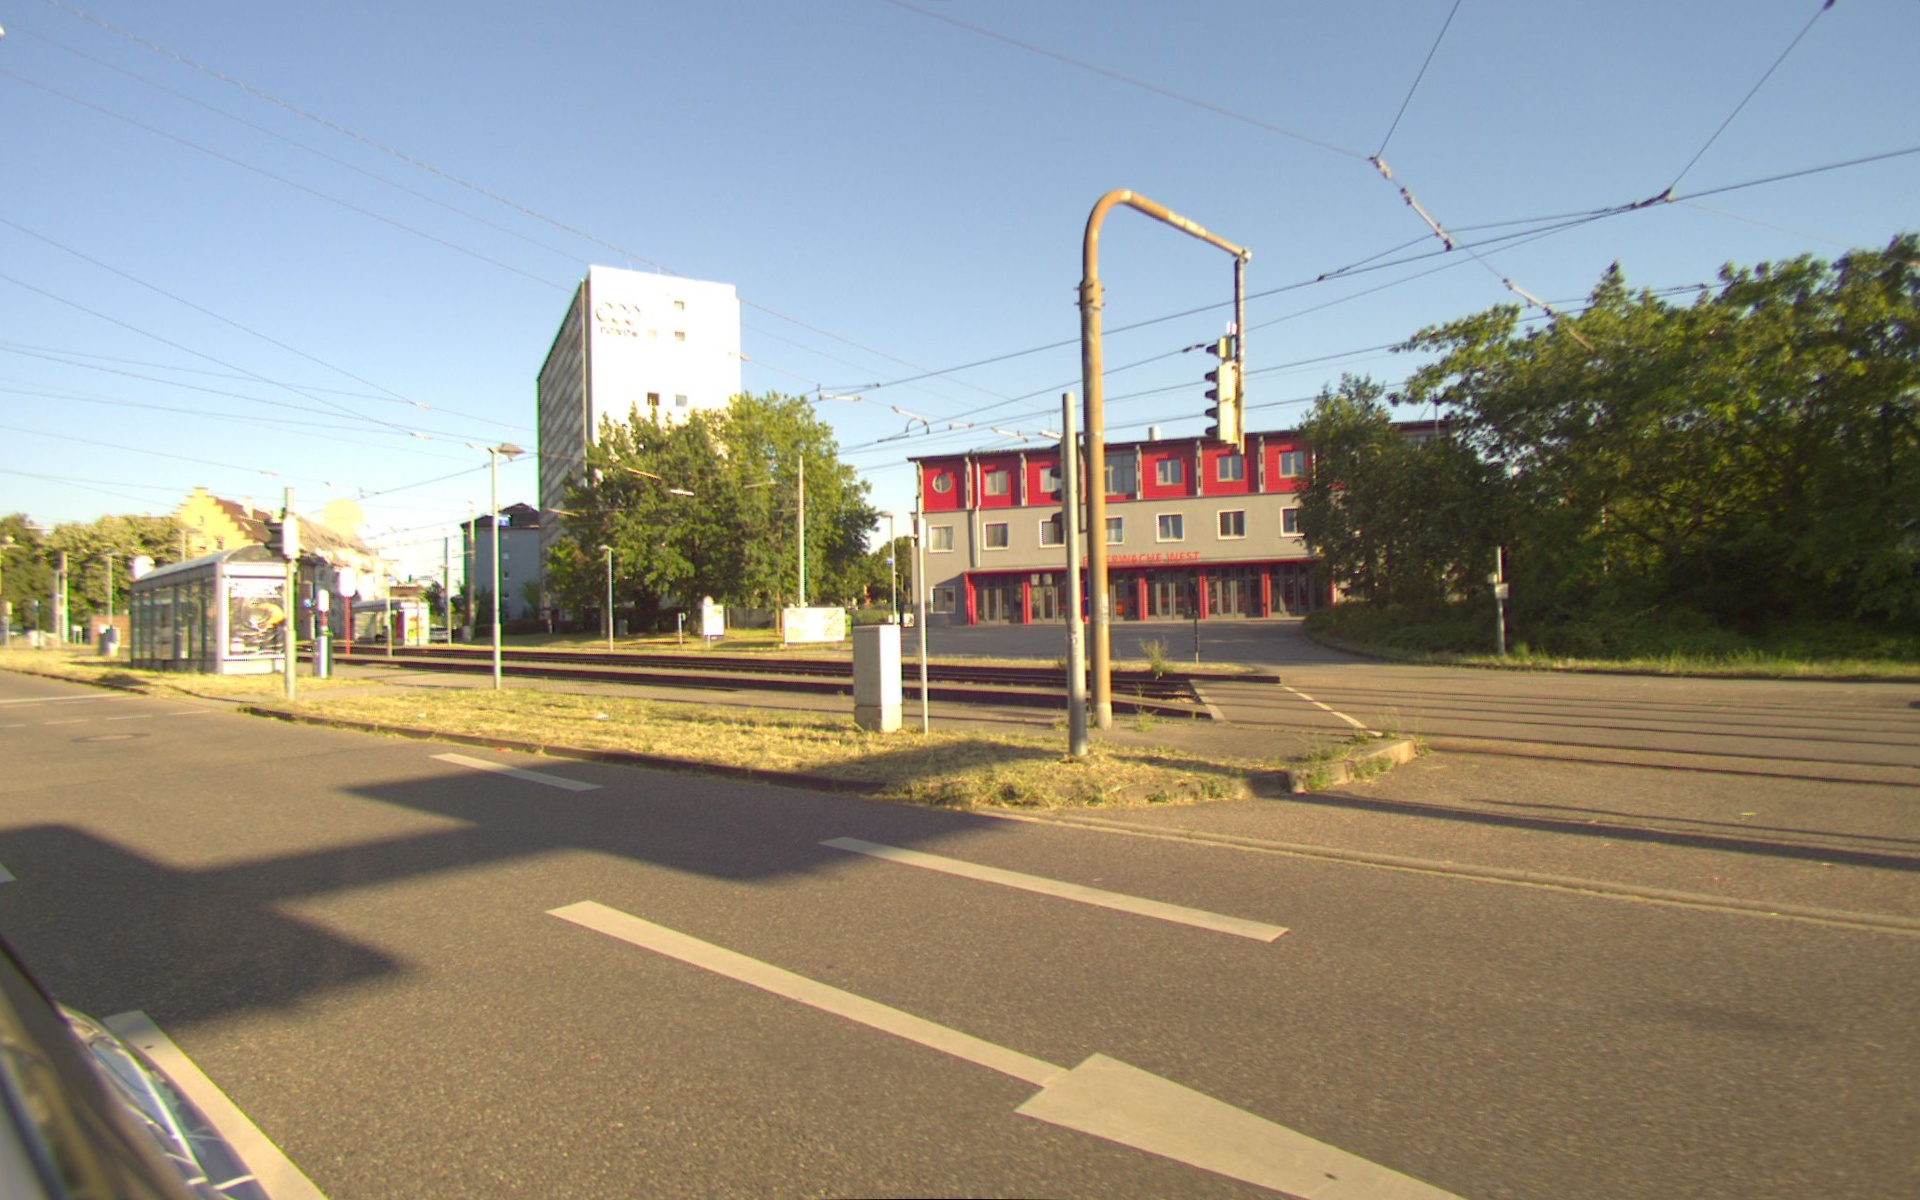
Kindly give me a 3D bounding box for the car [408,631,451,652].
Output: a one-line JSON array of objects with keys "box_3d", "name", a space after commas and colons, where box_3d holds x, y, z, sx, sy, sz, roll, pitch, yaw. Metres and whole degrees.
[{"box_3d": [-42.830, 3.350, 81.684, 4.436, 1.560, 1.717, -3, -3, 43], "name": "car"}]
